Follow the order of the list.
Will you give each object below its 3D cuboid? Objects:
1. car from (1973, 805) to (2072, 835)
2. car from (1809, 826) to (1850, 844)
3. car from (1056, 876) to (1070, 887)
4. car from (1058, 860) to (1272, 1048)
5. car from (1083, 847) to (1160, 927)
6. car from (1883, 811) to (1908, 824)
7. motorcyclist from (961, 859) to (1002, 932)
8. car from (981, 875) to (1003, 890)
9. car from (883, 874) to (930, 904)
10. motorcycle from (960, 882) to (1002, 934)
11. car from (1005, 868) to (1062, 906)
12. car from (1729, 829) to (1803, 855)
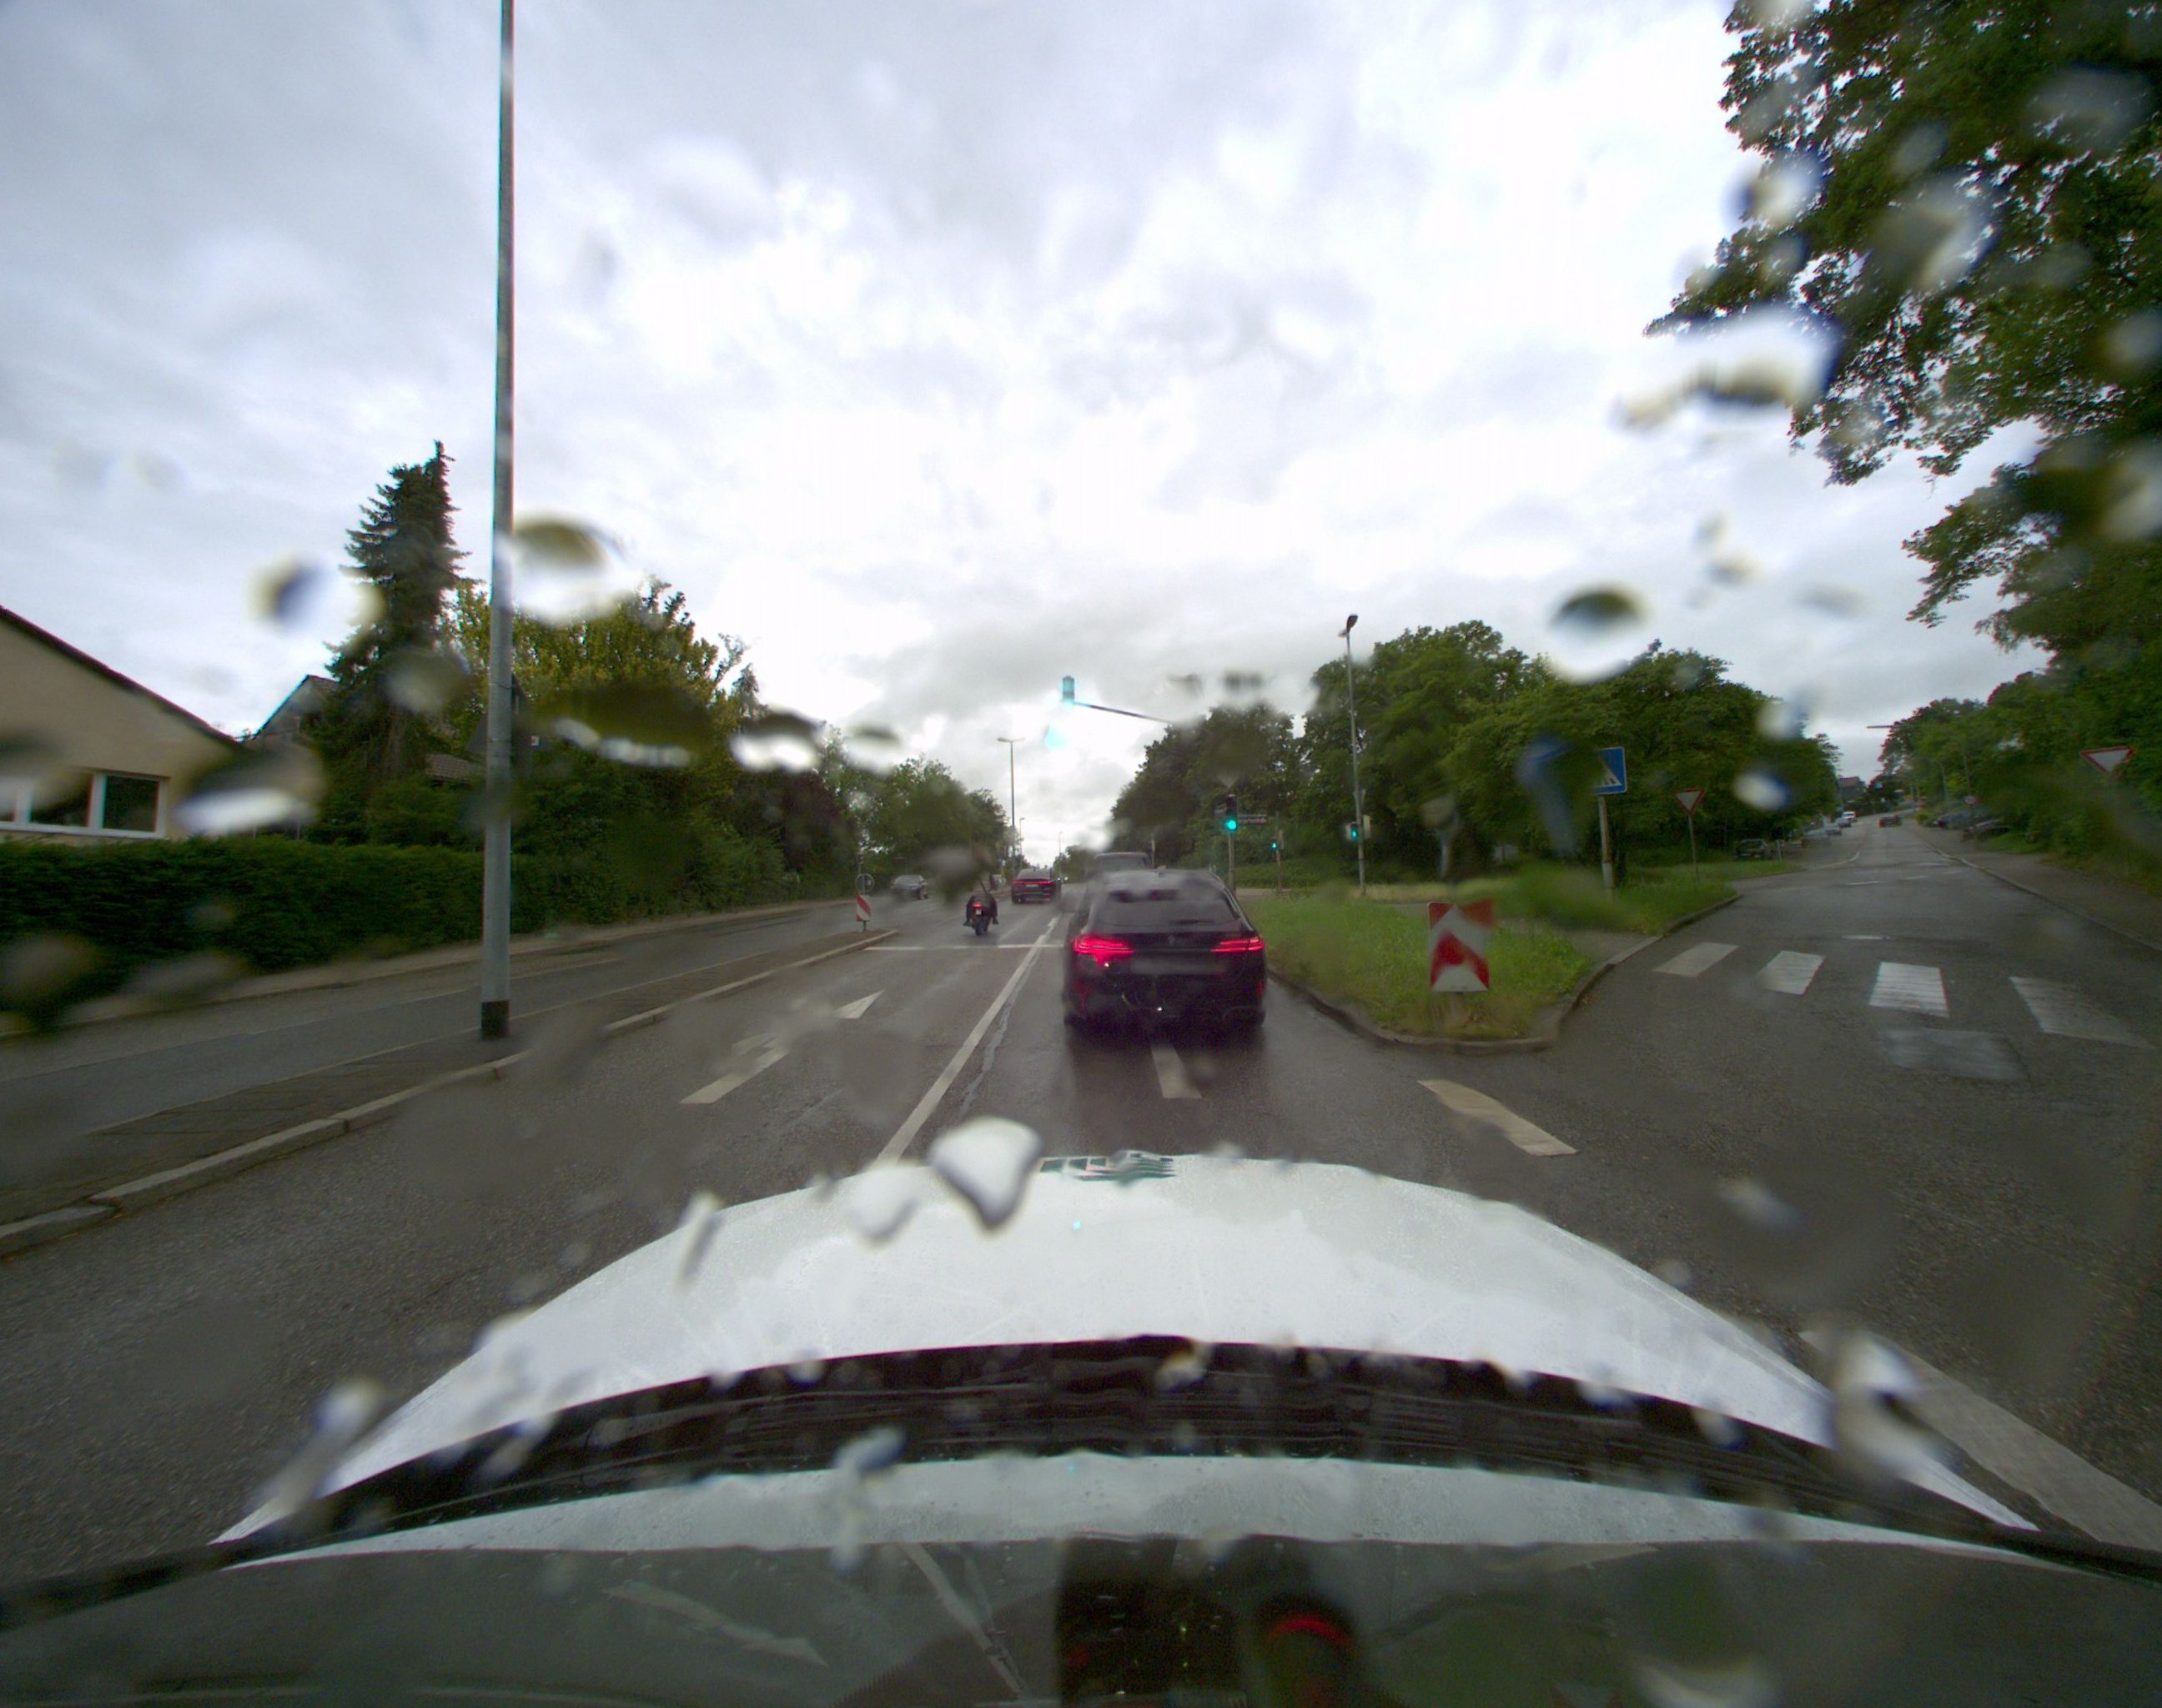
[{"bbox_3d":[60.339,-2.139,52.299,1.969,1.648,3.950,-1,-1,-45],"label":"car"},{"bbox_3d":[66.380,-1.645,72.215,4.014,1.446,1.686,0,-1,-32],"label":"car"},{"bbox_3d":[-2.848,4.394,129.970,2.018,1.563,3.877,-3,-1,1],"label":"car"},{"bbox_3d":[0.754,0.858,8.607,1.758,1.536,3.674,-1,-1,2],"label":"car"},{"bbox_3d":[0.994,0.763,20.716,1.760,1.810,3.907,-1,0,2],"label":"car"},{"bbox_3d":[106.740,-4.792,106.781,1.921,1.458,4.242,-1,-1,41],"label":"car"},{"bbox_3d":[-2.293,0.947,18.837,0.842,1.647,0.468,-1,-1,1],"label":"motorcyclist"},{"bbox_3d":[-9.674,3.053,88.621,1.722,1.485,4.157,-3,-1,1],"label":"car"},{"bbox_3d":[-9.648,1.906,45.354,1.858,1.492,3.829,-3,-1,-3],"label":"car"},{"bbox_3d":[-2.293,1.217,18.803,0.738,1.119,1.427,-1,-1,2],"label":"motorcycle"},{"bbox_3d":[-1.954,1.358,34.686,2.007,1.415,4.488,-1,0,2],"label":"car"},{"bbox_3d":[45.988,-0.820,54.729,3.994,1.571,1.819,-2,-1,-15],"label":"car"}]
